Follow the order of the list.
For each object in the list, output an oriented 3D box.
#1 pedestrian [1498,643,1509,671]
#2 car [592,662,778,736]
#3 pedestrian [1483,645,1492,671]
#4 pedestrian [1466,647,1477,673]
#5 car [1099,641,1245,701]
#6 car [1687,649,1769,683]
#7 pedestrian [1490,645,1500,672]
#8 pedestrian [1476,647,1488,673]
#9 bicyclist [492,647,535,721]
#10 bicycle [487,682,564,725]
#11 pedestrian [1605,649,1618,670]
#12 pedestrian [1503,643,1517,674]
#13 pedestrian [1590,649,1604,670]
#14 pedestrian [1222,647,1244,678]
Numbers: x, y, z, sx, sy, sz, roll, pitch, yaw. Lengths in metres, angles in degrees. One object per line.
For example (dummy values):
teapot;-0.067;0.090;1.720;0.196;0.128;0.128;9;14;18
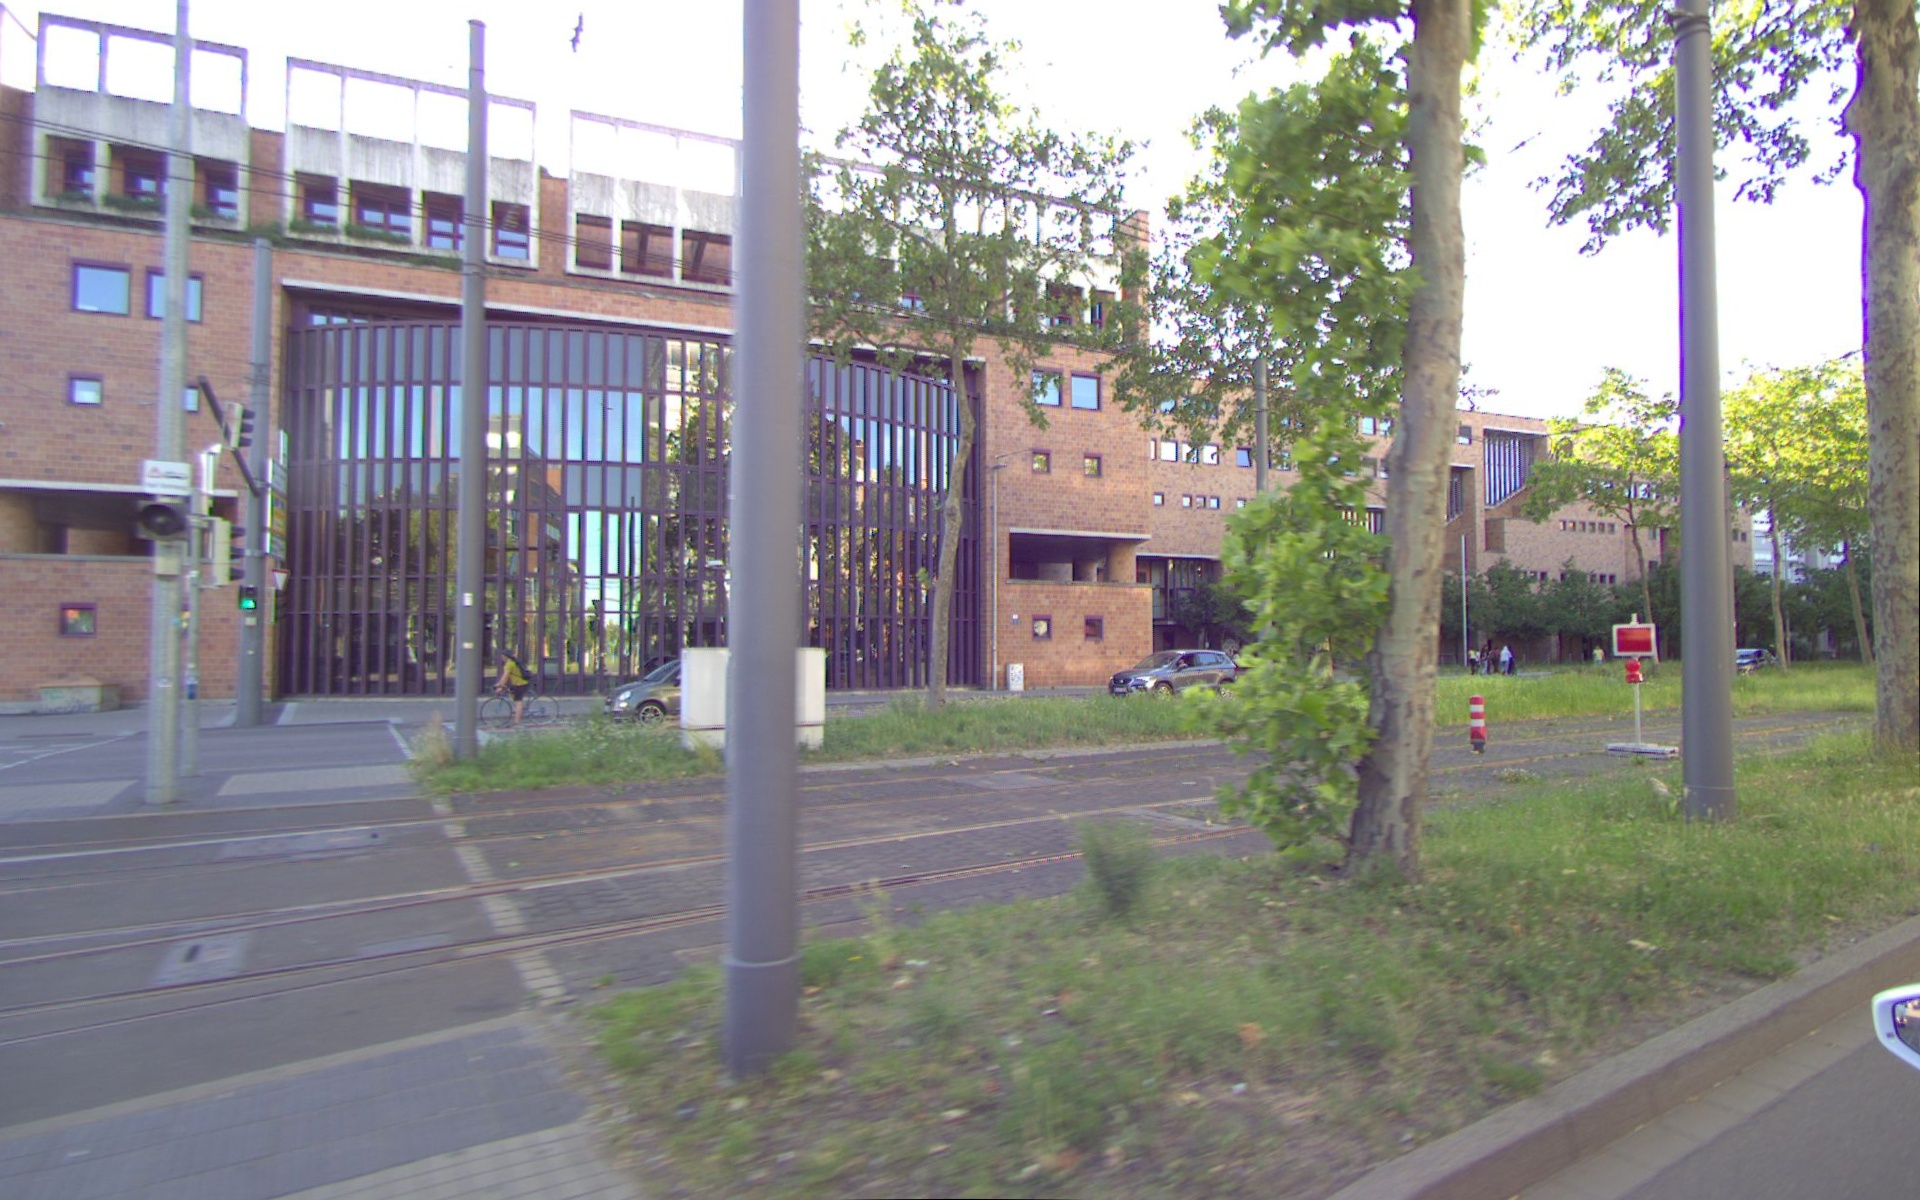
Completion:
pedestrian;30.357;3.202;56.101;0.417;1.543;0.364;1;-3;-24
car;-5.930;2.083;21.735;3.582;1.345;1.641;0;-2;-32
pedestrian;29.966;3.306;57.068;0.312;1.476;0.291;1;-3;-26
pedestrian;28.521;3.322;56.021;0.327;1.438;0.363;1;-3;-24
car;6.270;2.031;29.553;4.300;1.582;1.810;0;-2;-36
car;33.228;2.823;43.463;3.692;1.417;1.584;1;-3;-32
pedestrian;30.079;3.285;56.466;0.337;1.476;0.317;1;-3;-26
pedestrian;28.847;3.292;55.494;0.452;1.435;0.389;1;-3;-25
bicyclist;-10.079;1.884;22.695;0.802;1.643;0.621;1;-2;-20
bicycle;-9.821;2.340;22.764;1.545;0.925;0.534;1;-2;-20
pedestrian;41.959;3.825;64.657;0.515;1.308;0.500;1;-2;-27
pedestrian;30.906;3.267;56.431;0.473;1.727;0.435;1;-3;-25
pedestrian;39.001;3.625;61.465;0.515;1.308;0.500;1;-2;-27
pedestrian;16.741;3.835;61.636;0.867;1.906;0.975;1;-2;-22
